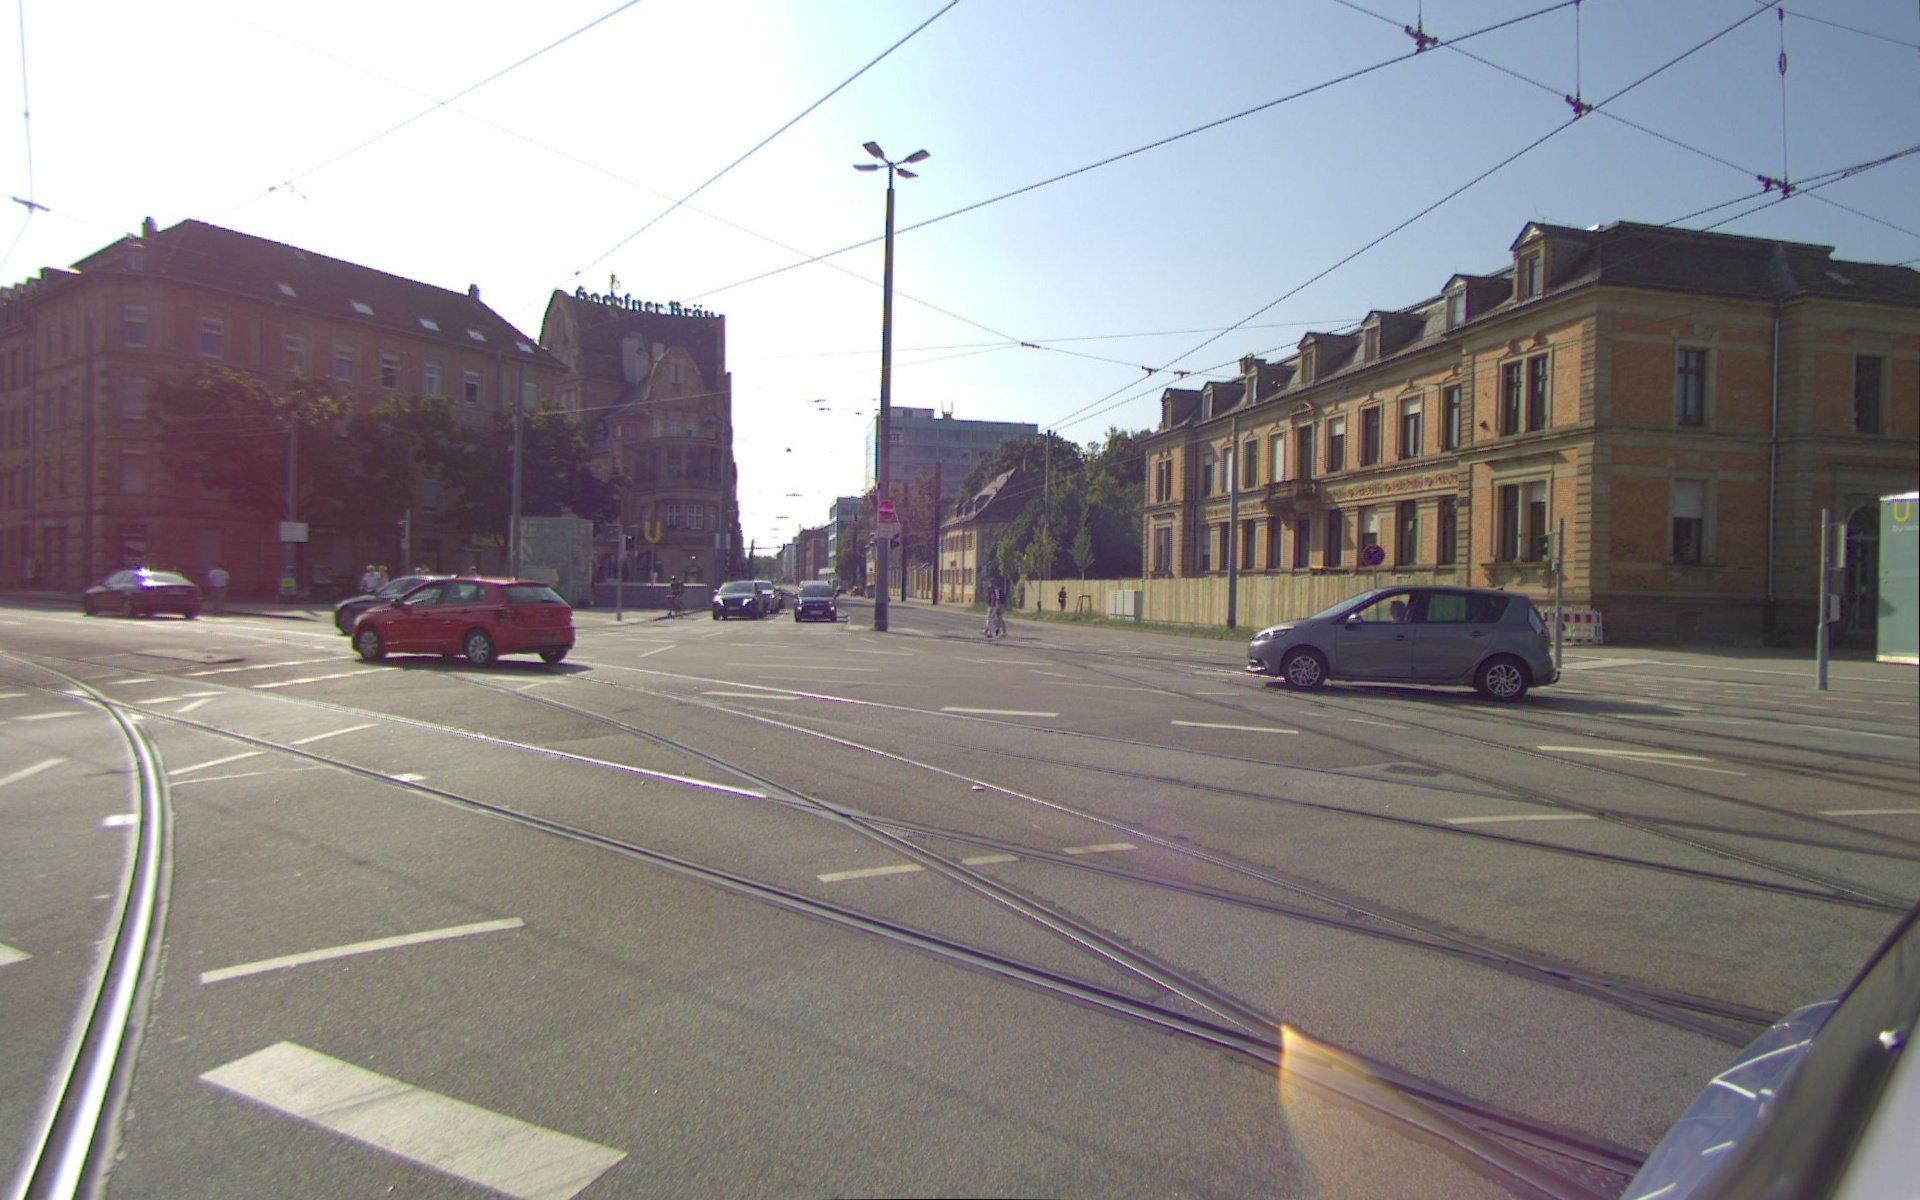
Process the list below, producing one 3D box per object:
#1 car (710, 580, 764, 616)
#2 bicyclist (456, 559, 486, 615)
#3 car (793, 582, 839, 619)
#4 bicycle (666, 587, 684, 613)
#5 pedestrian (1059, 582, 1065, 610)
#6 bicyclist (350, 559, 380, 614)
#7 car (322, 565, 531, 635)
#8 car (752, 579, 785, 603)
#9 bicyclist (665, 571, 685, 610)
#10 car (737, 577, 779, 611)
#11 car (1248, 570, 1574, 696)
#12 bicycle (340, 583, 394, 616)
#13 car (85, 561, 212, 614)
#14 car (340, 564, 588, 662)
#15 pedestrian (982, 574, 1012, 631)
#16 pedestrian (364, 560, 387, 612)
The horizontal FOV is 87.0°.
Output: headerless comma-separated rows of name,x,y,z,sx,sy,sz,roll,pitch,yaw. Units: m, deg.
car,-9.378,-0.114,42.800,1.888,1.393,4.006,1,1,-8
bicyclist,-15.350,-0.415,31.780,0.590,1.752,0.581,1,0,28
car,-5.658,-0.012,39.947,1.659,1.343,4.006,1,1,-8
bicycle,-12.383,-0.025,43.985,0.393,1.104,1.930,1,1,-5
pedestrian,5.666,-0.243,56.238,0.232,1.550,0.327,1,0,-12
bicyclist,-19.191,-0.440,32.639,0.641,1.739,0.581,1,0,28
car,-12.734,-0.022,24.156,4.688,1.493,1.900,2,0,23
car,-12.580,-0.615,66.718,1.888,1.523,4.006,1,1,-8
bicyclist,-12.360,-0.429,43.906,0.649,1.657,0.919,1,0,-6
car,-10.532,-0.344,53.035,1.888,1.656,4.006,1,1,-8
car,6.657,0.436,15.359,4.239,1.645,1.802,2,-1,22
bicycle,-19.141,-0.029,32.683,0.429,1.038,1.513,1,0,25
car,-24.633,-0.387,30.719,3.807,1.478,1.723,2,1,29
car,-8.353,0.178,17.081,3.735,1.466,1.665,2,0,21
pedestrian,1.127,0.071,30.586,0.781,1.708,0.659,1,0,10
pedestrian,-19.957,-0.480,34.574,0.622,1.748,0.497,1,0,44
